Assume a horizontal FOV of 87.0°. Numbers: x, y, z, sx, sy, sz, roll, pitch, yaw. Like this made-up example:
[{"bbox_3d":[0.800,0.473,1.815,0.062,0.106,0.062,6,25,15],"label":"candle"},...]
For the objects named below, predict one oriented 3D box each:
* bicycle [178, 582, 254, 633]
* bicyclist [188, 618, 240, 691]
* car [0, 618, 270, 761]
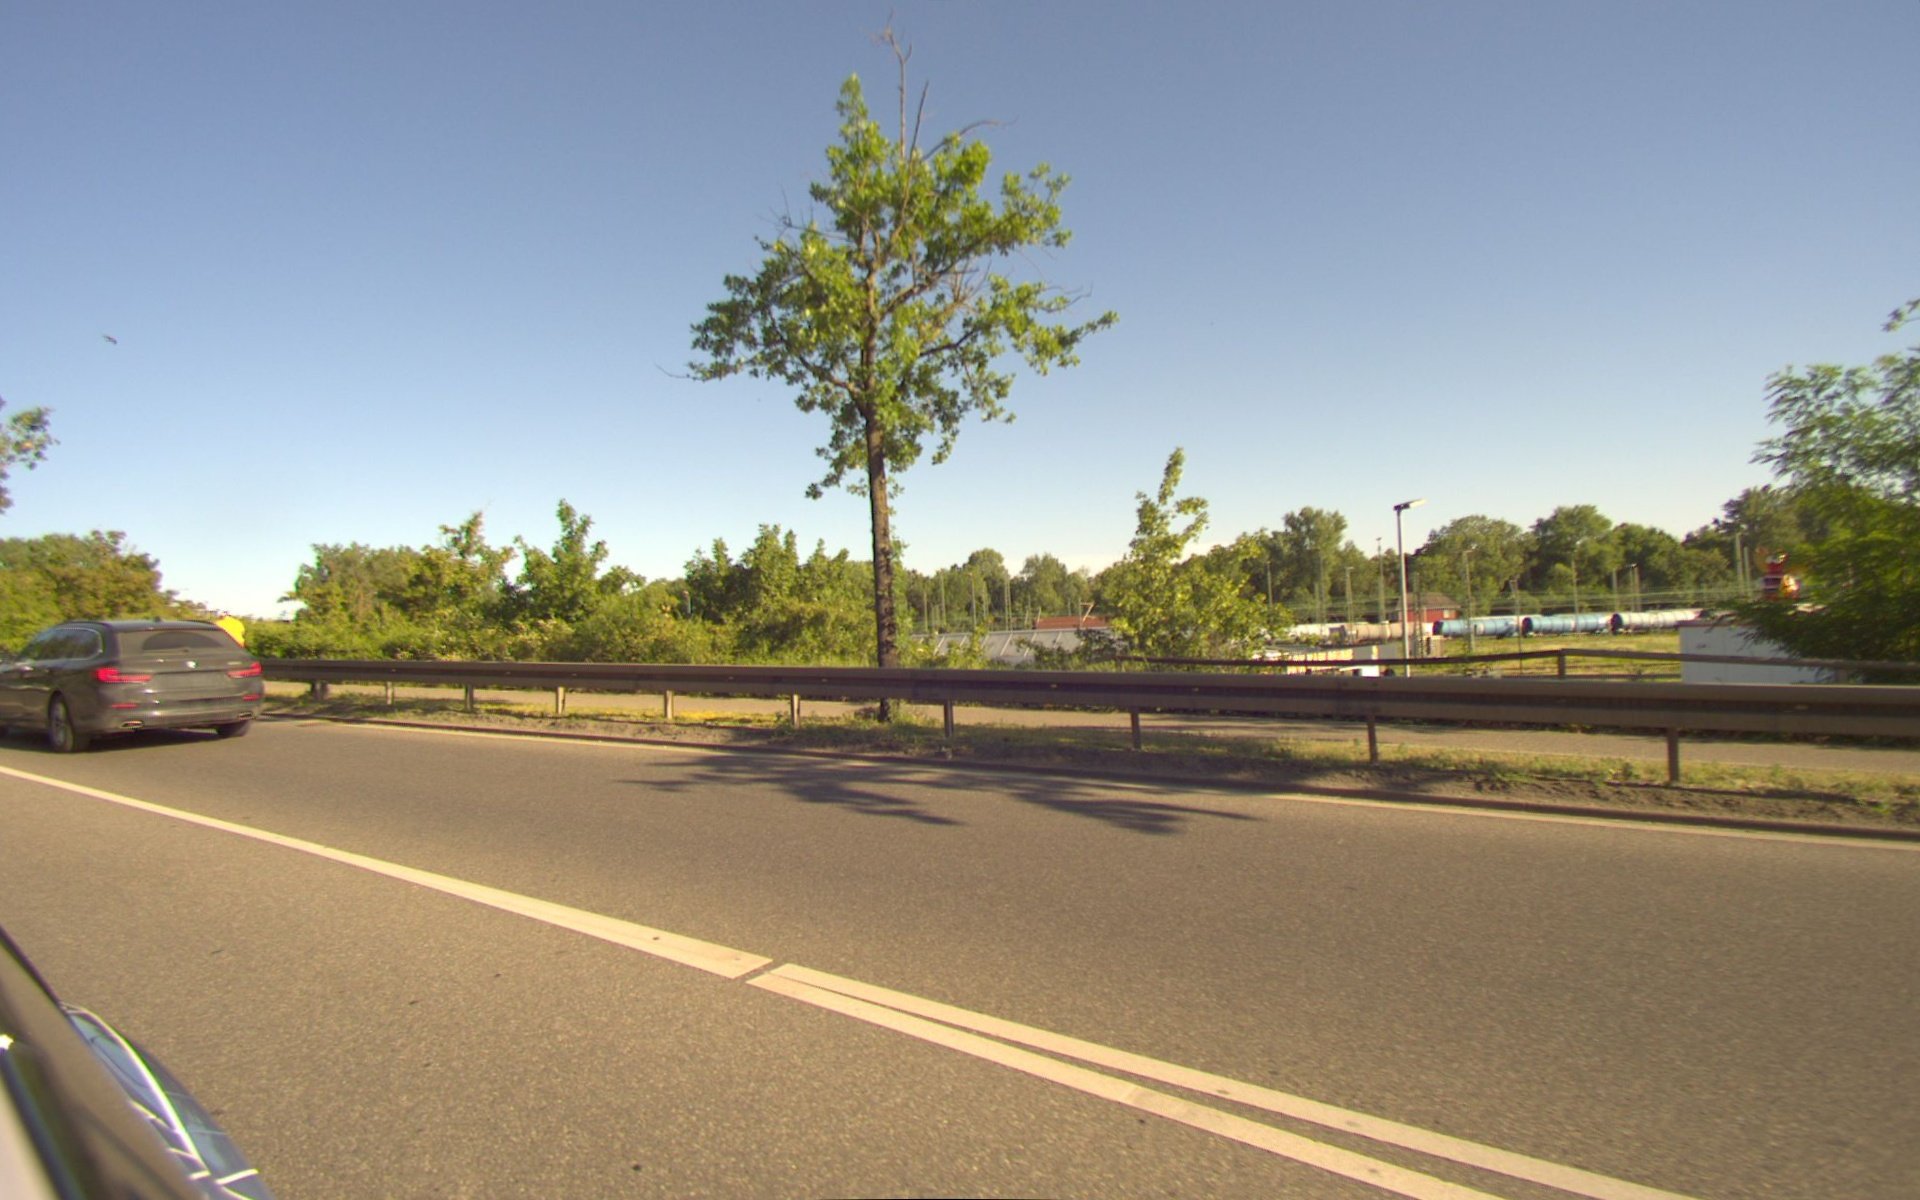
[{"bbox_3d":[-16.884,0.196,22.944,2.101,1.104,0.655,-2,-2,32],"label":"bicycle"},{"bbox_3d":[-16.906,1.226,22.938,0.871,1.636,0.646,-2,-3,32],"label":"bicyclist"},{"bbox_3d":[-10.588,1.018,12.653,4.358,1.508,1.794,-2,-3,35],"label":"car"}]
